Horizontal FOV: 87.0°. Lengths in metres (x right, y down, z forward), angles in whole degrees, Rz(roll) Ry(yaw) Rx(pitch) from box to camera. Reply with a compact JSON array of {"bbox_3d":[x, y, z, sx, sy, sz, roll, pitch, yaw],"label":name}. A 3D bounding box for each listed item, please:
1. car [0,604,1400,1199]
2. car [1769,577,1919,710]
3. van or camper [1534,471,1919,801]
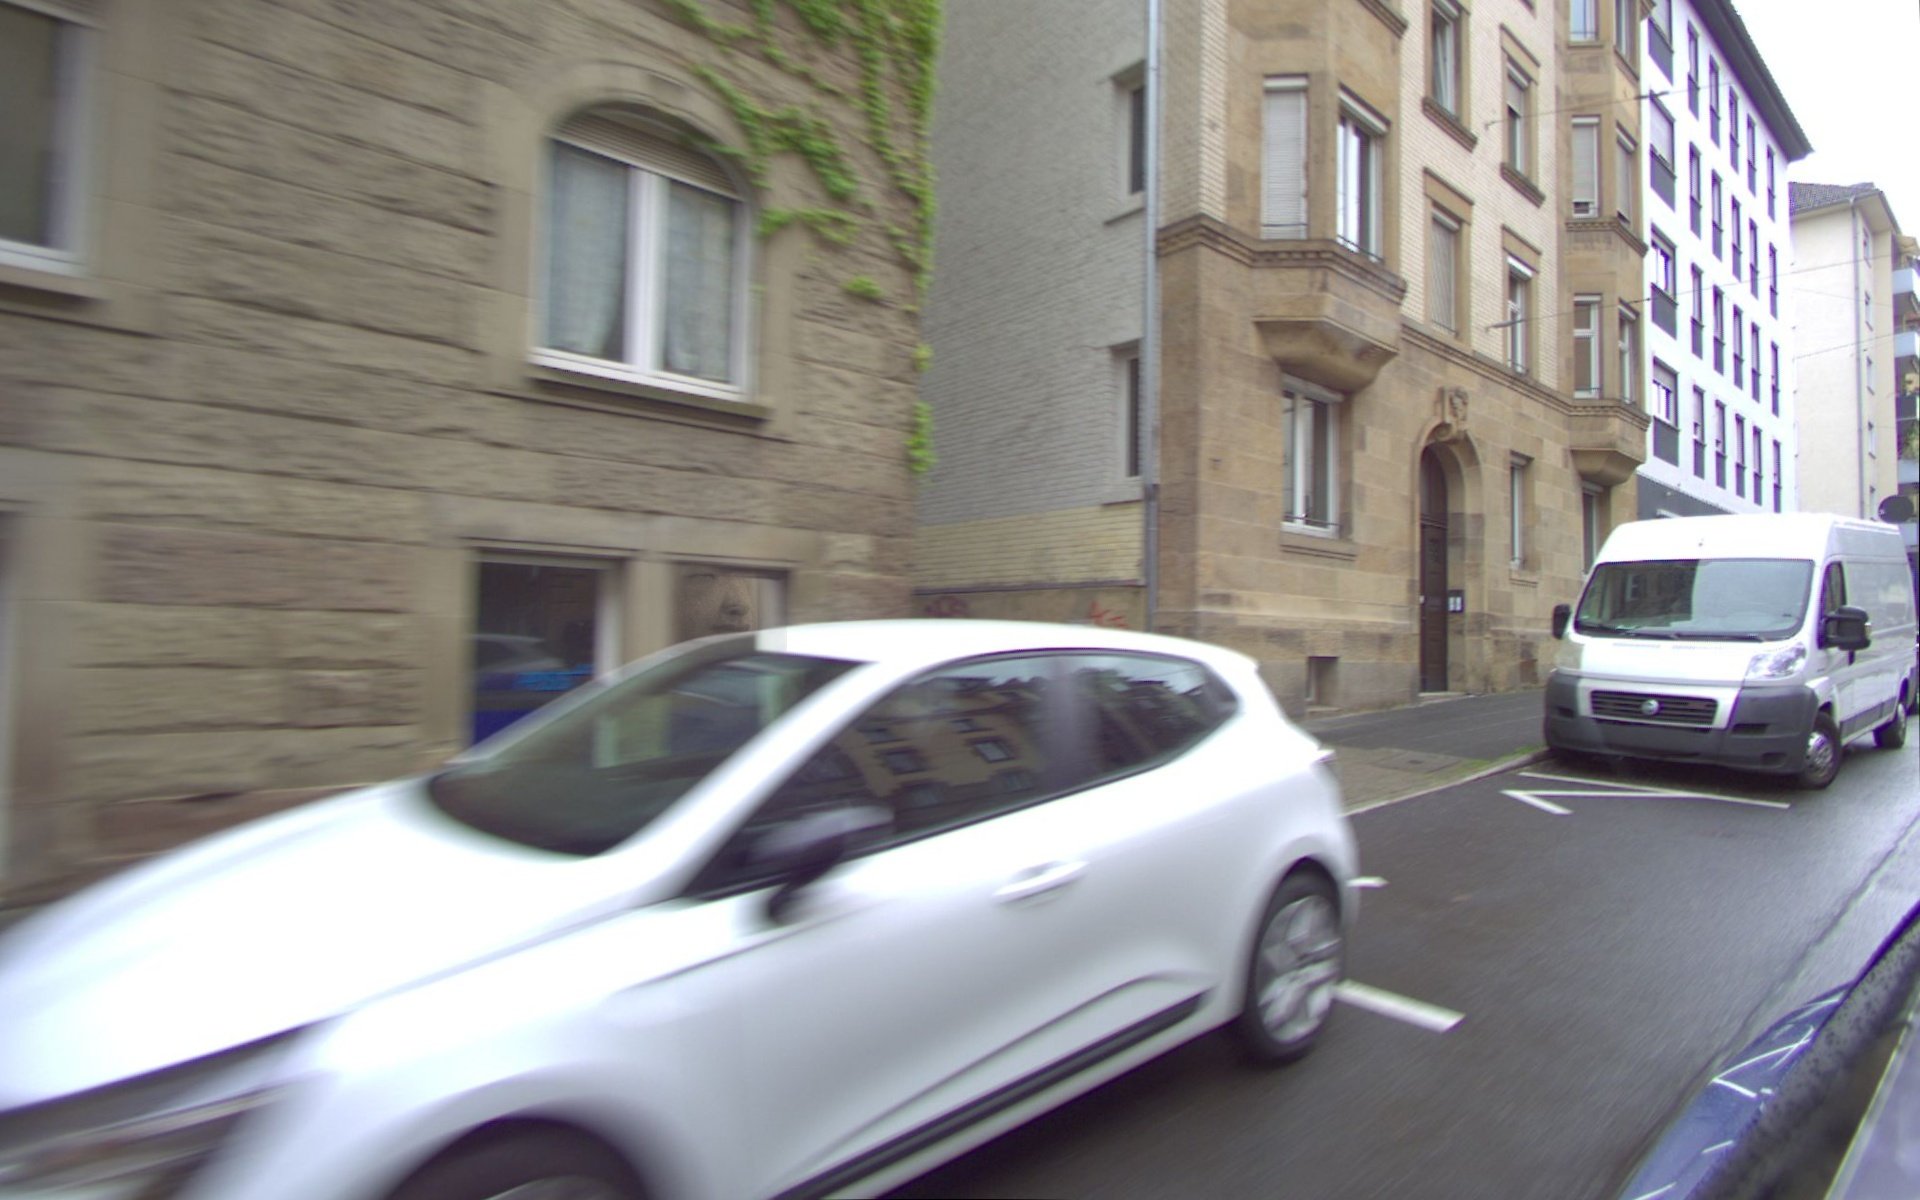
[{"bbox_3d":[-0.402,0.739,3.066,3.931,1.429,1.678,0,-1,-42],"label":"car"},{"bbox_3d":[14.433,0.603,15.983,4.404,1.831,1.771,0,-2,-41],"label":"car"},{"bbox_3d":[8.210,0.241,10.427,6.012,2.500,2.068,-1,0,-41],"label":"van or camper"}]
